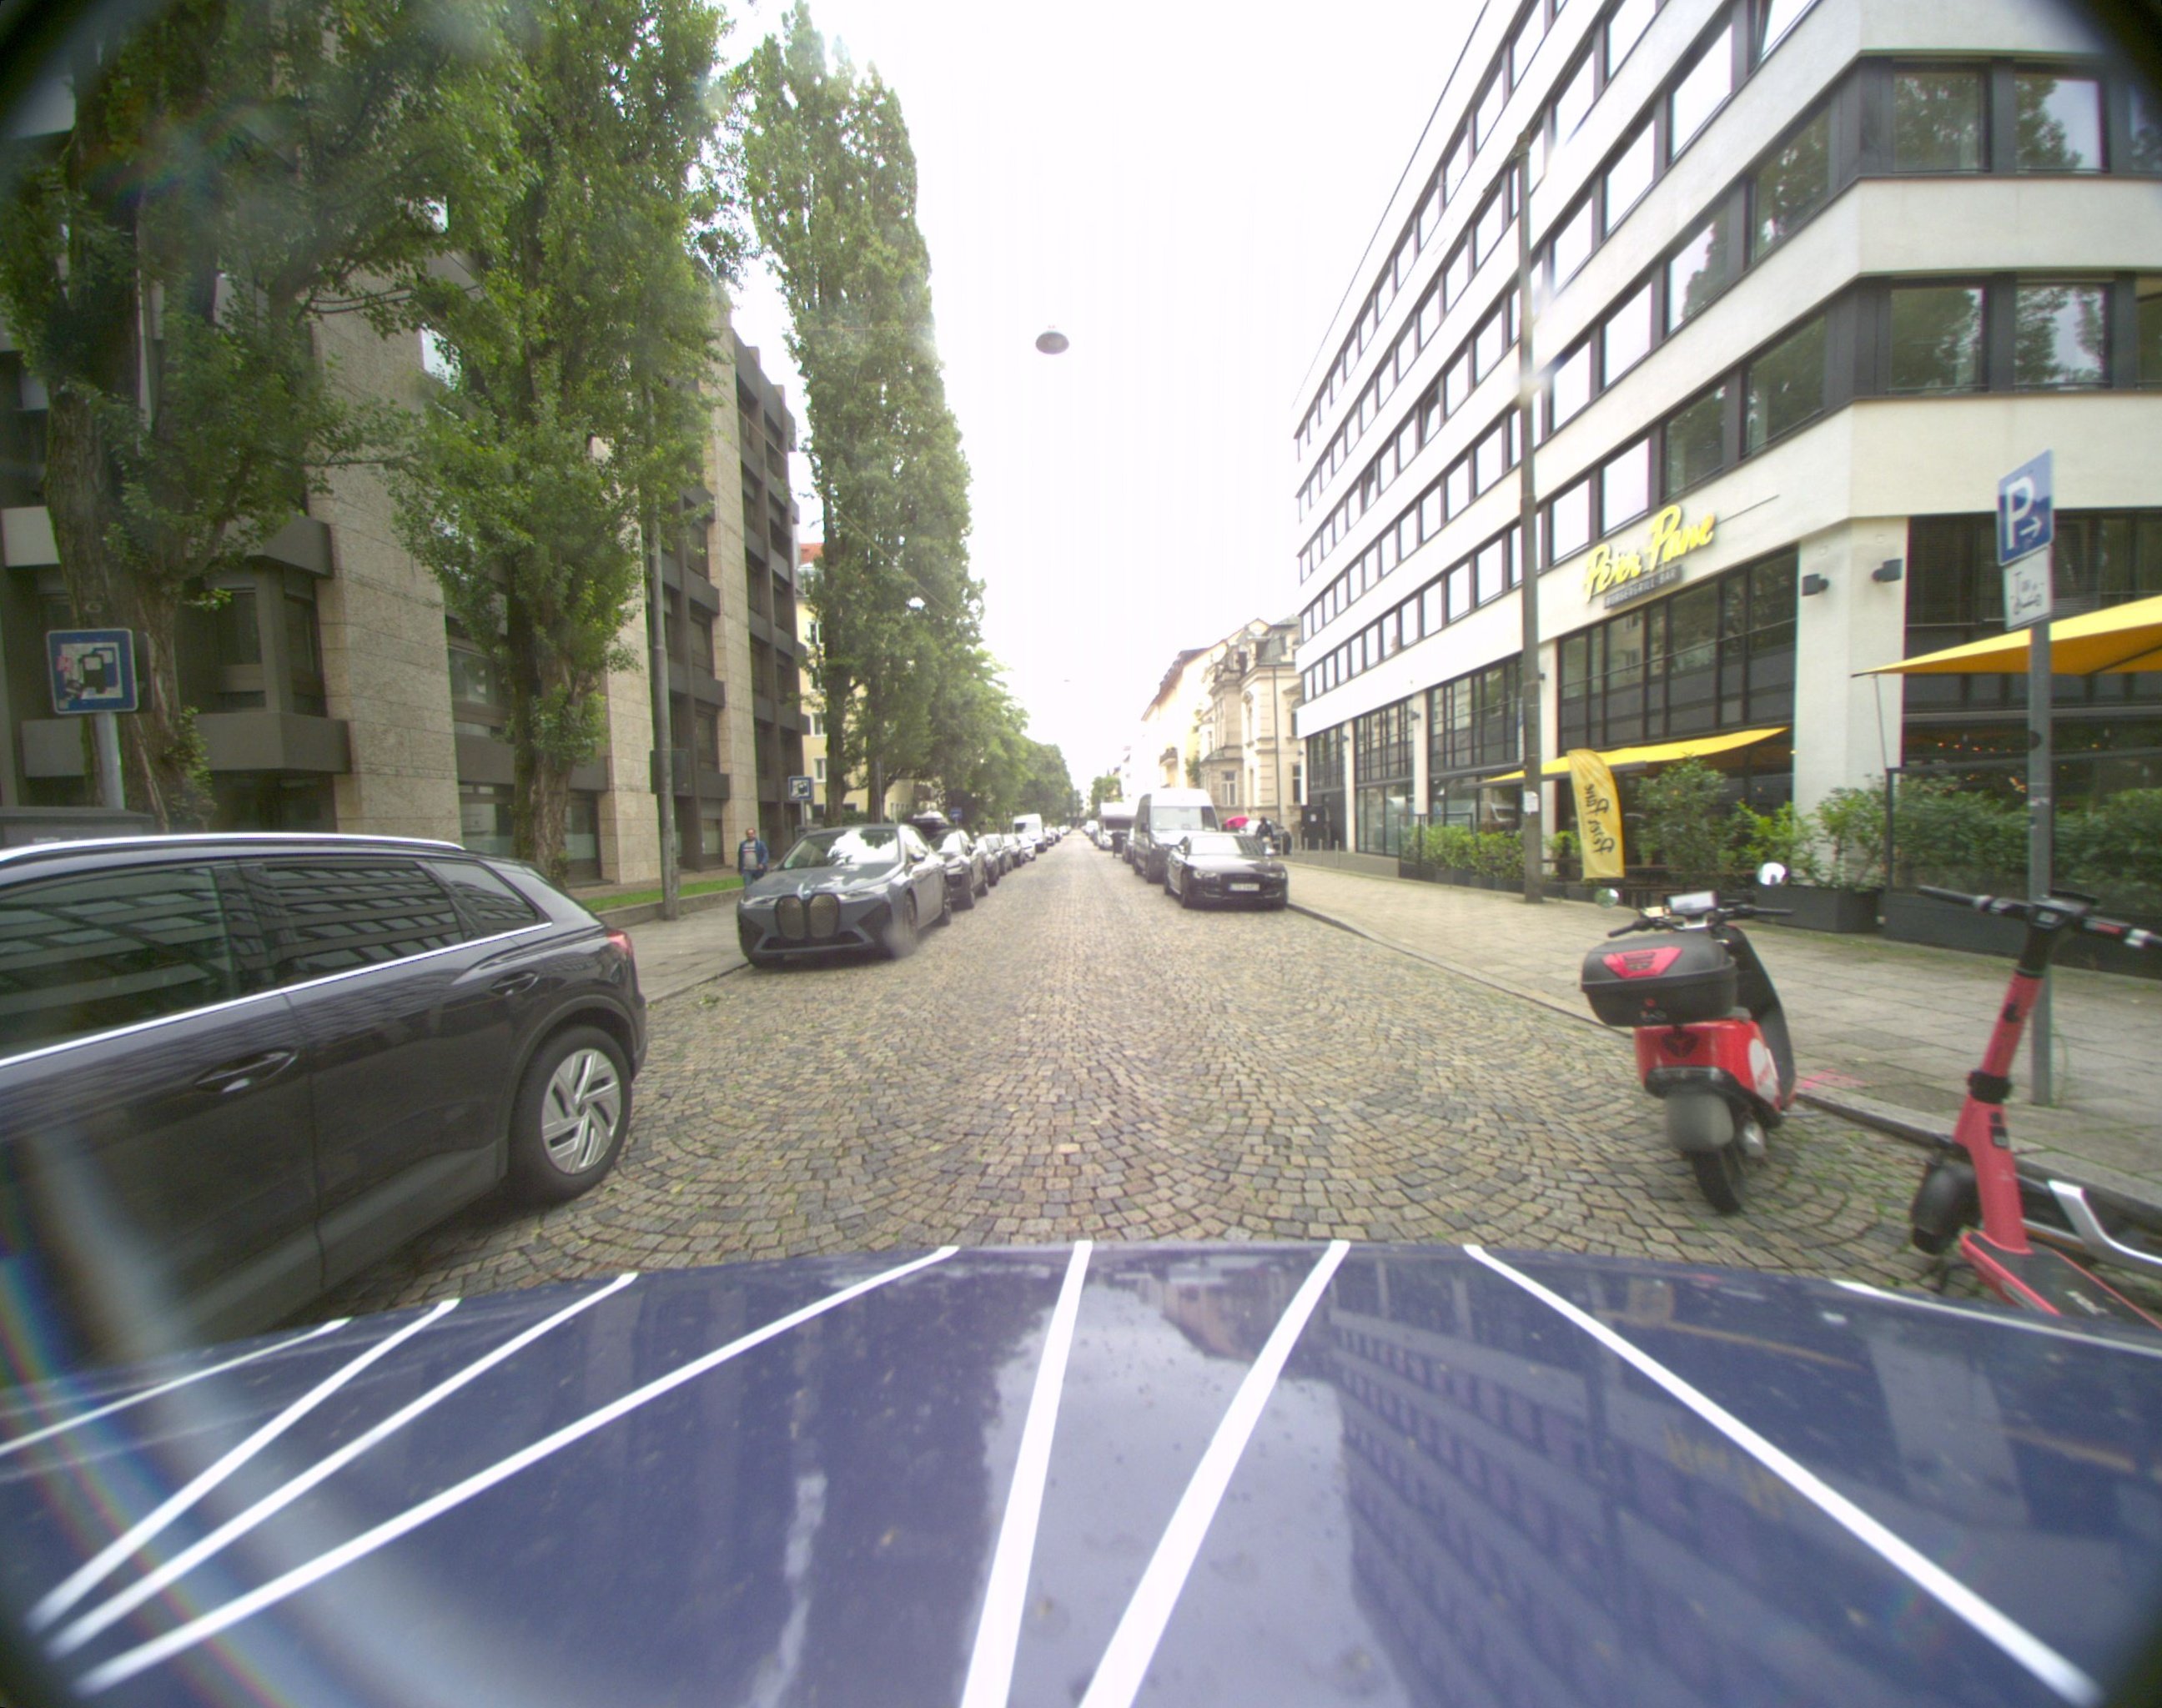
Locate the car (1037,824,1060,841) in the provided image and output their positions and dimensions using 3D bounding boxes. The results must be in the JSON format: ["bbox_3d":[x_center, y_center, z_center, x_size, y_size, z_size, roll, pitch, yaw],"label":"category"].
[{"bbox_3d":[-2.931,-1.941,68.691,1.999,1.380,3.871,-4,3,-2],"label":"car"}]

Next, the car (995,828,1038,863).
[{"bbox_3d":[-3.113,-0.452,37.505,1.868,1.491,3.871,-4,3,-2],"label":"car"}]

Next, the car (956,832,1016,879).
[{"bbox_3d":[-3.321,-0.006,27.214,1.605,1.423,3.560,-4,3,0],"label":"car"}]

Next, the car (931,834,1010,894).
[{"bbox_3d":[-3.172,0.223,22.600,1.724,1.382,4.202,-5,3,-1],"label":"car"}]

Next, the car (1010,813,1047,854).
[{"bbox_3d":[-3.385,-1.428,49.976,2.088,2.419,5.607,-3,3,-1],"label":"car"}]

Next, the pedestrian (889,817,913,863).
[{"bbox_3d":[-6.238,-0.492,26.368,0.645,1.529,0.708,-2,3,-3],"label":"pedestrian"}]

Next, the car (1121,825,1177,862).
[{"bbox_3d":[2.882,-0.498,32.785,1.999,1.381,3.998,-2,3,0],"label":"car"}]

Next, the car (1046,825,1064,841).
[{"bbox_3d":[-3.093,-2.510,89.249,1.999,1.681,3.871,-4,3,-2],"label":"car"}]

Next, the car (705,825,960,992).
[{"bbox_3d":[-3.084,0.511,10.658,2.018,1.691,4.670,-3,3,-1],"label":"car"}]

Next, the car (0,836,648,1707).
[{"bbox_3d":[-3.137,0.900,1.649,1.925,1.691,4.199,-3,3,-1],"label":"car"}]

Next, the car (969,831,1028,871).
[{"bbox_3d":[-3.411,-0.178,32.097,1.999,1.380,3.871,-3,3,0],"label":"car"}]

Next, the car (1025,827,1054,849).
[{"bbox_3d":[-3.049,-1.212,56.485,1.999,1.380,3.871,-4,3,-2],"label":"car"}]

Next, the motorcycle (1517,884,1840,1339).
[{"bbox_3d":[2.633,0.822,3.244,1.994,1.189,0.769,-5,4,-43],"label":"motorcycle"}]

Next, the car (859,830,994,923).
[{"bbox_3d":[-3.101,0.343,16.236,1.999,1.574,4.339,-3,3,-1],"label":"car"}]

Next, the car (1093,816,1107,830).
[{"bbox_3d":[3.407,-5.652,136.749,2.088,2.419,5.607,-2,3,-1],"label":"car"}]

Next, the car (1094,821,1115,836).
[{"bbox_3d":[2.475,-2.743,80.899,1.999,1.402,3.871,-2,3,-2],"label":"car"}]

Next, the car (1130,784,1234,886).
[{"bbox_3d":[2.711,-0.596,21.887,2.065,2.477,5.845,-2,3,-1],"label":"car"}]

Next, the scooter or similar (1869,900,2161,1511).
[{"bbox_3d":[2.827,0.848,2.303,0.326,1.266,1.360,0,4,35],"label":"scooter or similar"}]

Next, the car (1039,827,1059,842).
[{"bbox_3d":[-3.244,-1.961,77.256,1.999,1.380,3.871,-2,3,-2],"label":"car"}]

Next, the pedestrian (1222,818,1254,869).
[{"bbox_3d":[5.338,-0.366,25.853,0.928,1.697,0.799,-2,3,3],"label":"pedestrian"}]

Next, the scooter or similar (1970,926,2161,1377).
[{"bbox_3d":[3.260,0.847,1.922,0.390,1.173,1.248,-4,3,-31],"label":"scooter or similar"}]

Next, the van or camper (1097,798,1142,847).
[{"bbox_3d":[2.537,-2.145,52.020,2.464,3.031,7.313,-2,3,-1],"label":"van or camper"}]

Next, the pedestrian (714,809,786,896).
[{"bbox_3d":[-6.720,-0.042,15.461,0.867,1.705,0.913,-1,3,20],"label":"pedestrian"}]

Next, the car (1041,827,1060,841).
[{"bbox_3d":[-3.435,-2.204,84.291,1.999,1.380,3.871,-2,3,-2],"label":"car"}]

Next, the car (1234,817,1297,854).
[{"bbox_3d":[8.392,-0.909,34.921,1.912,1.524,4.167,-2,3,1],"label":"car"}]

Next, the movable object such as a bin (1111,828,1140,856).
[{"bbox_3d":[2.220,-0.610,37.996,1.255,1.291,1.173,-2,3,-4],"label":"movable object such as a bin"}]

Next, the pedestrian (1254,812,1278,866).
[{"bbox_3d":[6.196,-0.512,25.419,0.575,1.739,0.650,-2,3,-3],"label":"pedestrian"}]

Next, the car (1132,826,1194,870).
[{"bbox_3d":[2.936,-0.290,28.046,1.998,1.423,3.999,-2,3,2],"label":"car"}]

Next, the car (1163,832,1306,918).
[{"bbox_3d":[2.796,0.291,14.793,1.998,1.323,4.114,-2,3,1],"label":"car"}]
